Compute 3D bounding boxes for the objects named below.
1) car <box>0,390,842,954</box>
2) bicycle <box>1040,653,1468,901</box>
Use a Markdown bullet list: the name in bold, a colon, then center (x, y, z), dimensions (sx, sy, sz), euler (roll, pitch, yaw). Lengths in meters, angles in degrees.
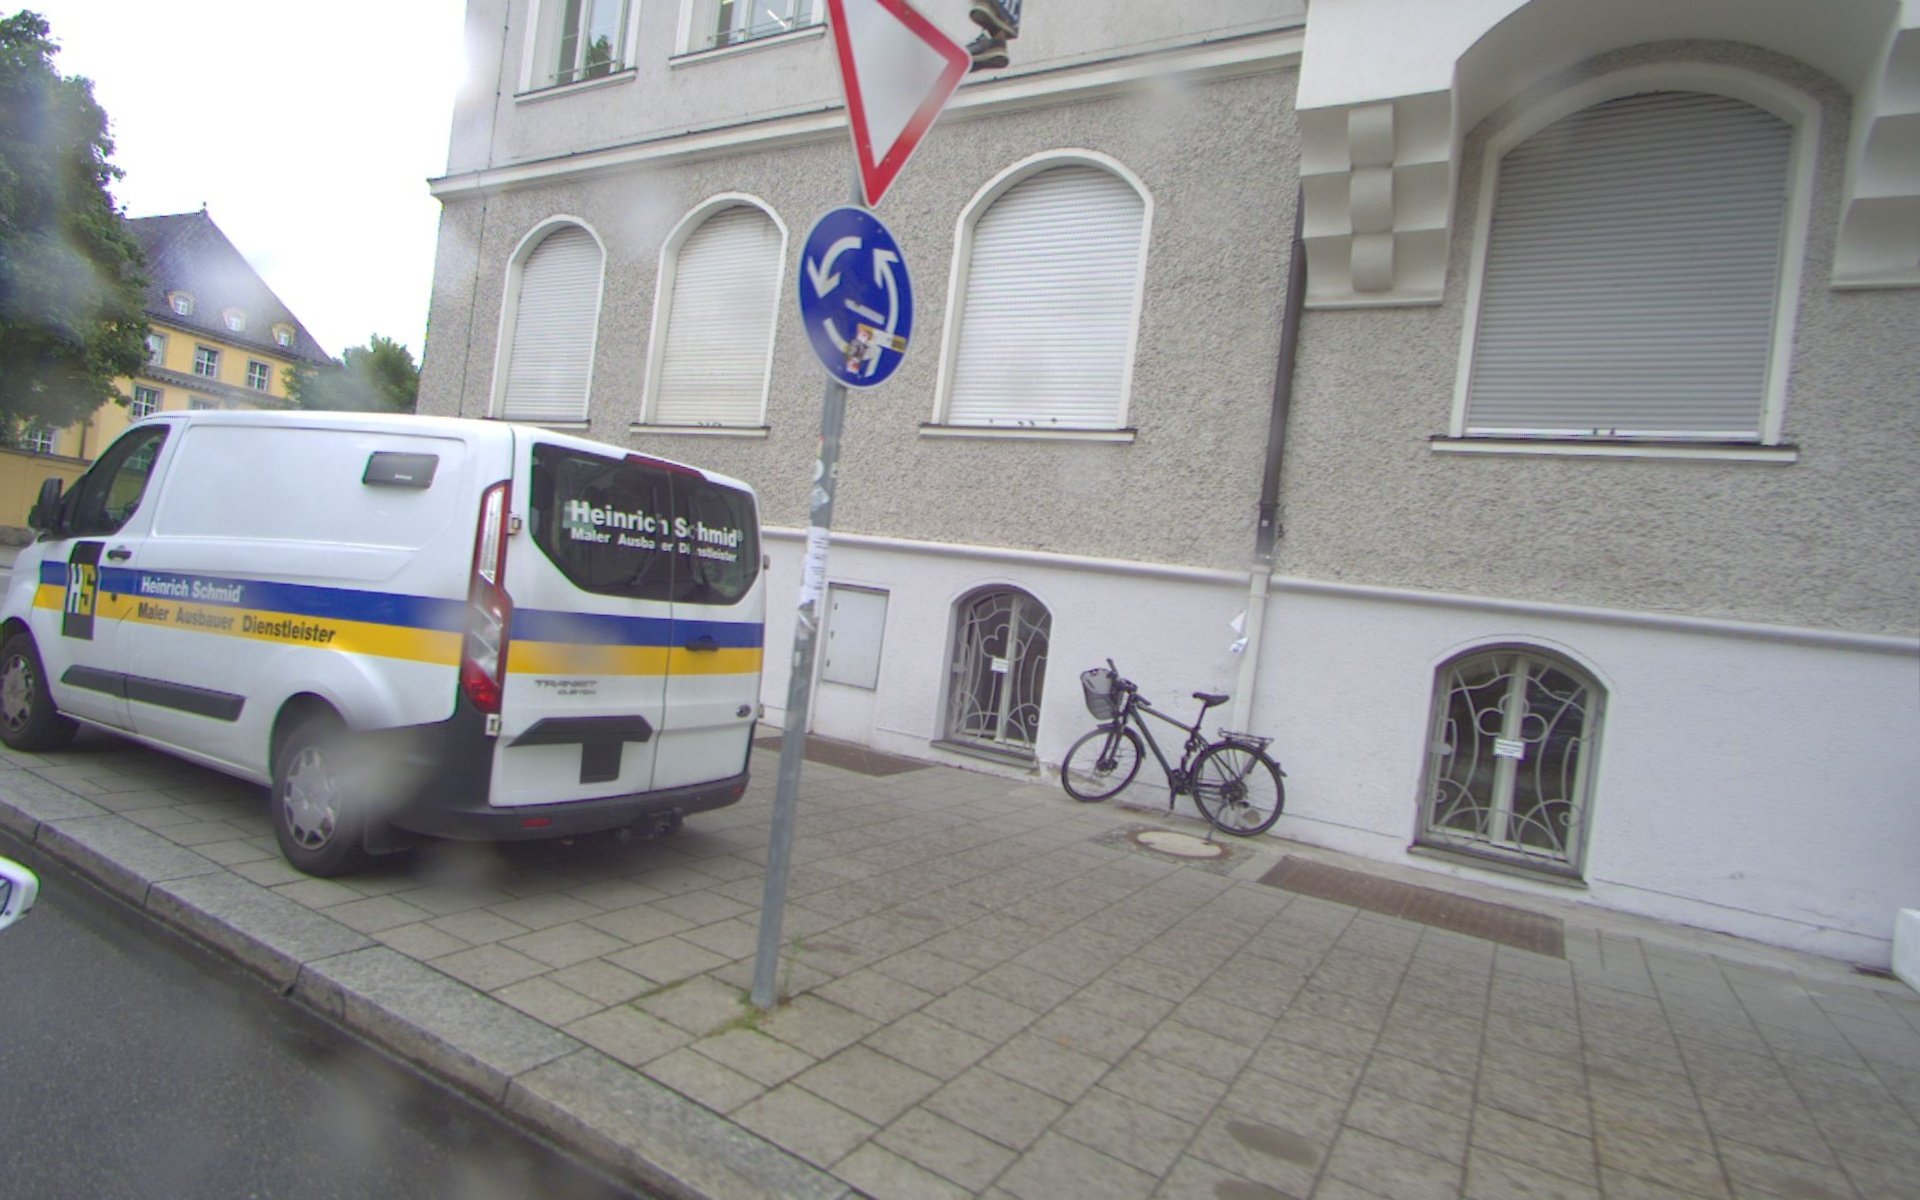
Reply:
- **car**: center (-3.471, 0.040, 5.644), dimensions (5.282, 1.946, 1.941), euler (7, 1, 29)
- **bicycle**: center (2.018, 1.136, 7.159), dimensions (2.710, 1.128, 0.839), euler (7, 4, 30)
